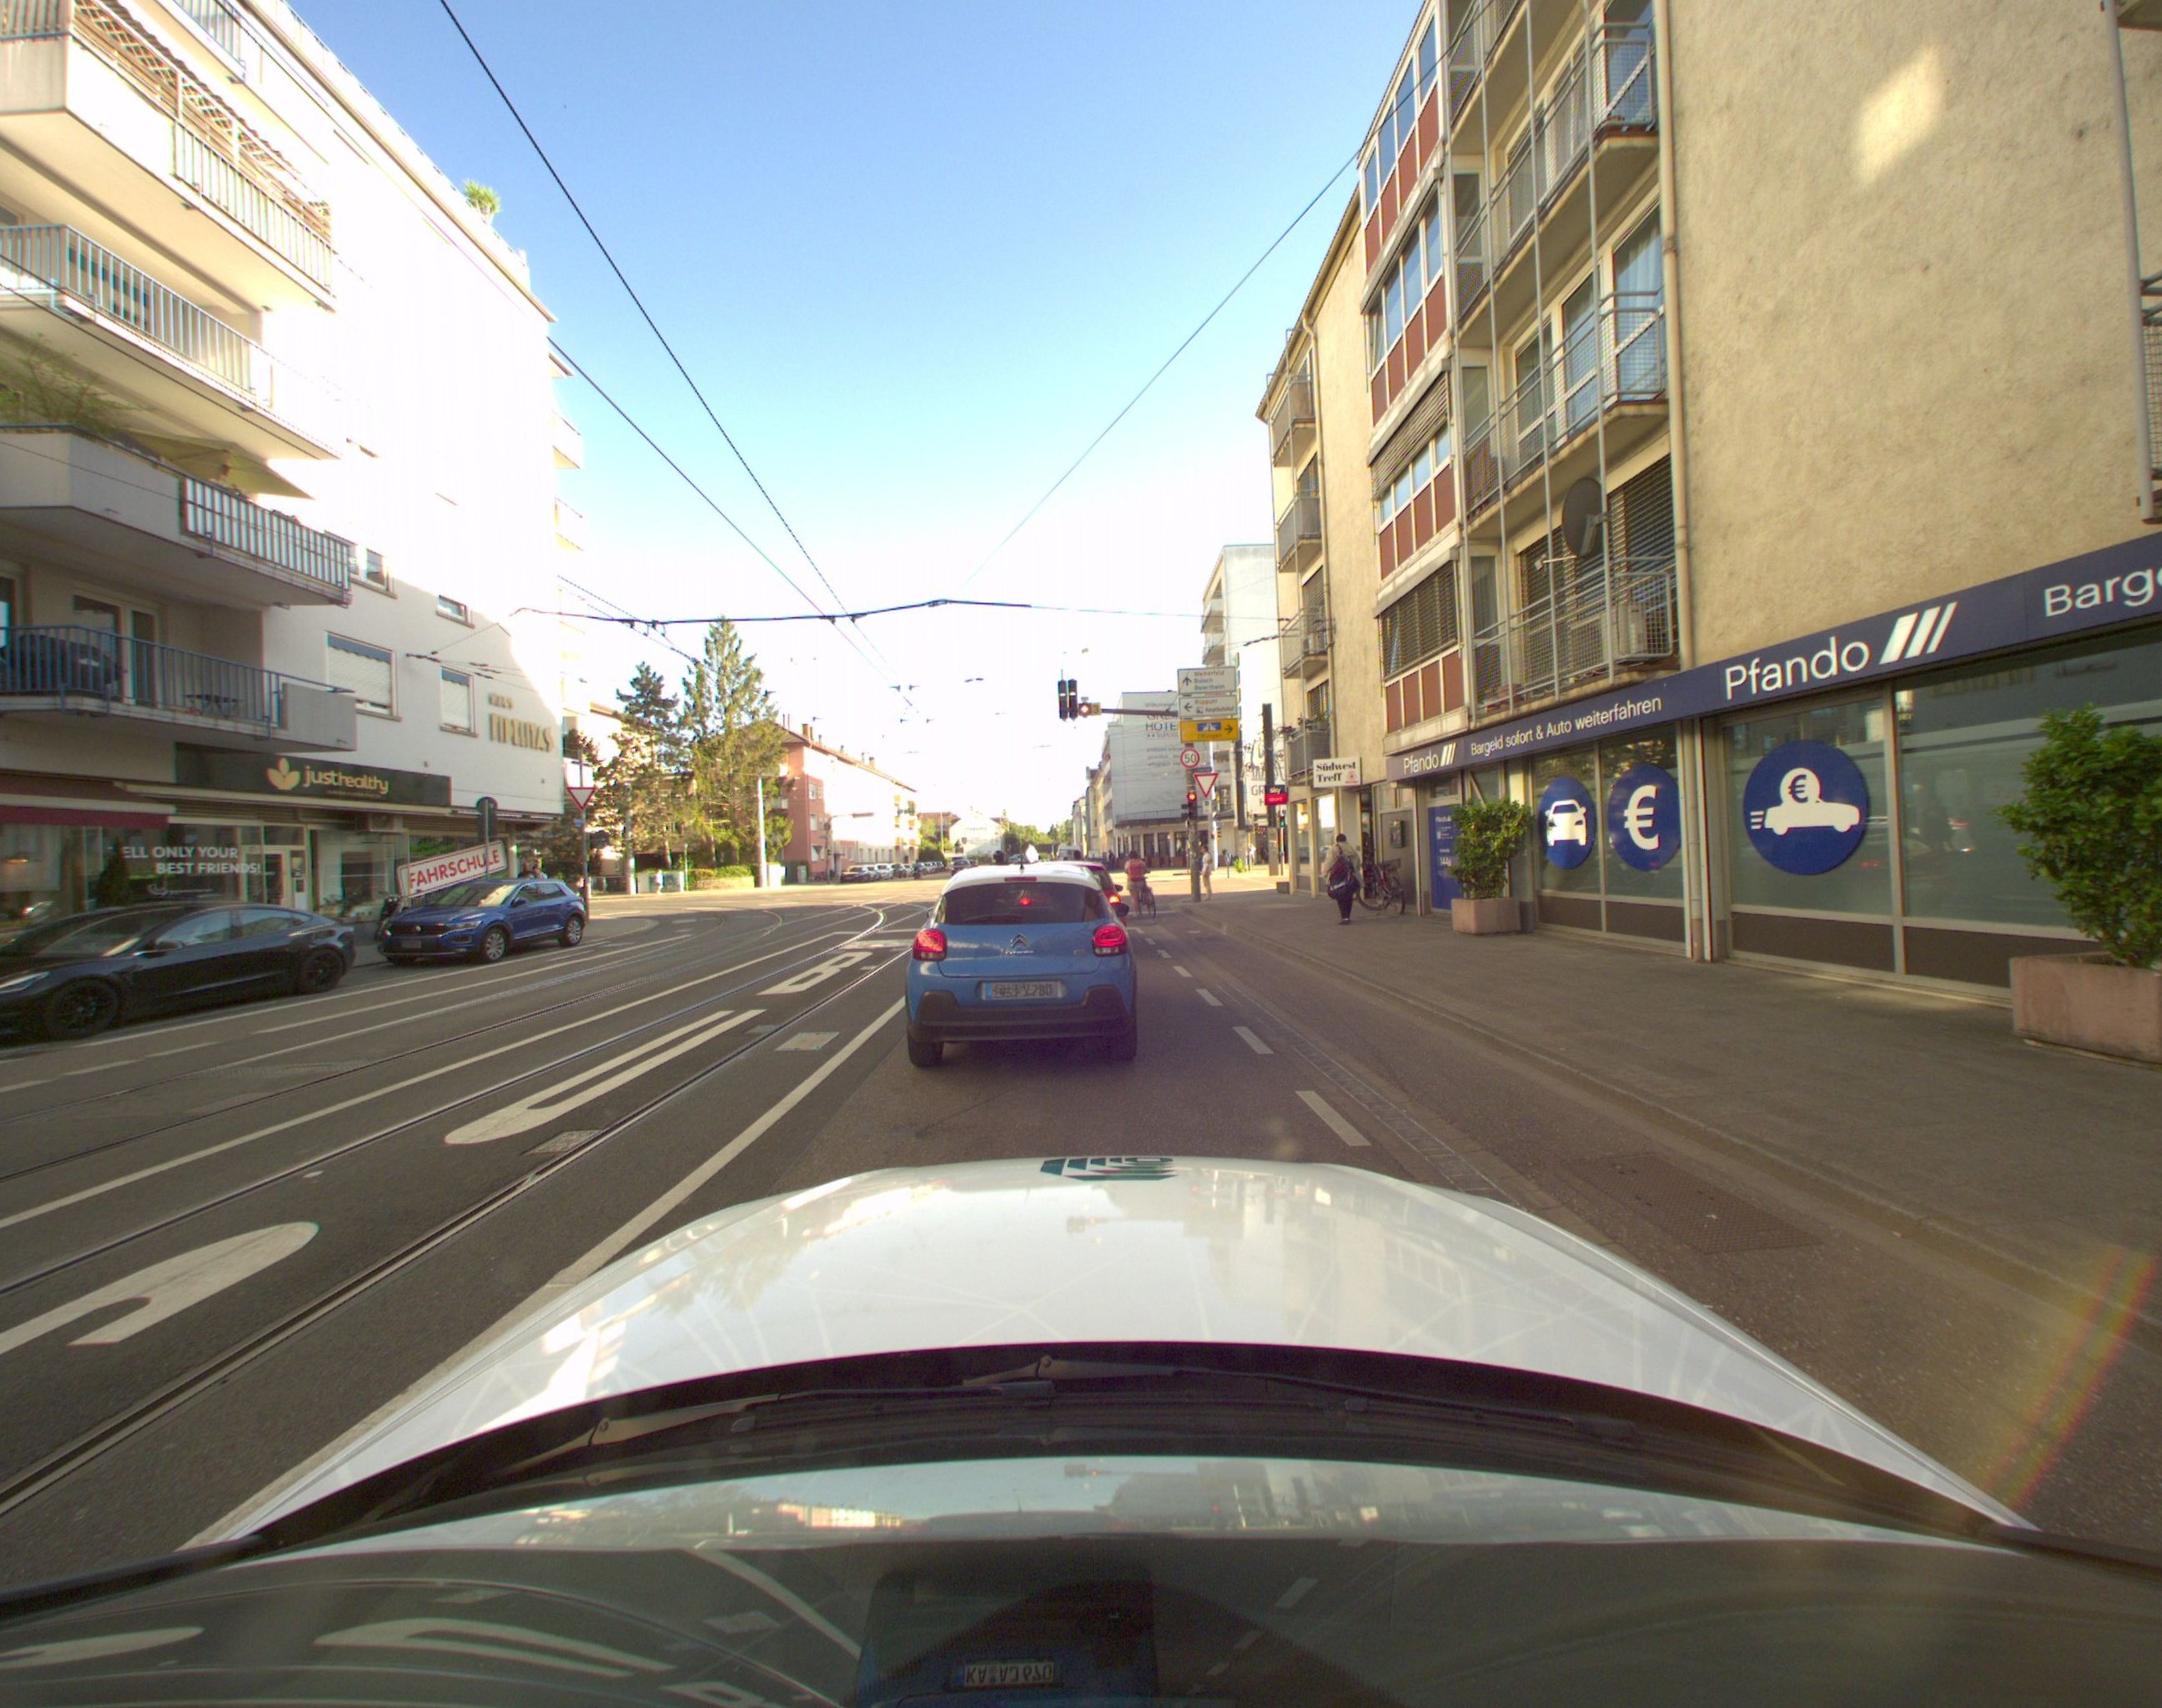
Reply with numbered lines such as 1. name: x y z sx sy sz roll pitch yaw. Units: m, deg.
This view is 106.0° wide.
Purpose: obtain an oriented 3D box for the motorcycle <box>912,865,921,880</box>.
1. motorcycle: -13.604 1.550 67.452 0.712 1.220 1.957 -2 -2 -12

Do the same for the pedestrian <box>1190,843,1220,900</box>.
1. pedestrian: 3.682 0.521 24.213 0.534 1.623 0.737 -7 -3 23

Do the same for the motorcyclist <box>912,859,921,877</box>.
1. motorcyclist: -13.641 1.168 67.568 0.694 1.497 0.681 -2 -2 -12

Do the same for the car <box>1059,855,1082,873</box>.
1. car: -0.879 0.833 68.012 1.654 1.431 3.882 0 -1 -4

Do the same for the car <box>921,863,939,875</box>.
1. car: -20.164 1.956 108.558 1.865 1.576 3.995 0 -1 -3

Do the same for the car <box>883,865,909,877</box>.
1. car: -19.622 1.769 86.673 1.942 1.239 4.279 0 0 -2

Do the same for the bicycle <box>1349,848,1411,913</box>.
1. bicycle: 5.747 0.497 15.743 0.495 1.161 1.776 -2 -1 -1

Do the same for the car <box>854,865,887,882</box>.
1. car: -19.311 1.778 74.922 1.897 1.436 4.102 0 0 0

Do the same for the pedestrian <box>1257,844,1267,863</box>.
1. pedestrian: 13.947 -0.010 62.782 0.600 1.444 0.558 -1 -1 37

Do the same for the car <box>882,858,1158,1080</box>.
1. car: -0.255 0.789 7.285 1.727 1.452 3.670 -1 0 7

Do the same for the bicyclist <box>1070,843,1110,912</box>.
1. bicyclist: 0.221 0.568 20.113 0.937 1.673 1.079 0 -1 0

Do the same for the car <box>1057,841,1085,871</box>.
1. car: -0.966 0.190 73.016 2.260 2.482 5.002 -1 0 -3

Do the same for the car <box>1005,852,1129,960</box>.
1. car: -0.282 0.744 13.600 1.780 1.521 3.758 0 0 -3

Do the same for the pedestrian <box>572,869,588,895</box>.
1. pedestrian: -33.239 1.839 53.989 0.785 1.722 0.699 0 -1 -22

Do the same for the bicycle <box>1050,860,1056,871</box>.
1. bicycle: -4.476 1.867 130.376 0.787 1.670 2.231 0 -1 3

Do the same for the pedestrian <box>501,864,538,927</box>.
1. pedestrian: -17.306 1.271 25.104 0.568 1.900 0.742 -2 -3 16

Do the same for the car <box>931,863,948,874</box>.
1. car: -20.780 2.050 119.685 1.865 1.576 3.995 0 -1 -3

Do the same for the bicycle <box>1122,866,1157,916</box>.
1. bicycle: 1.503 0.915 20.618 0.807 1.181 2.068 0 -1 6

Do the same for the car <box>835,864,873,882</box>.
1. car: -19.370 1.630 69.671 2.149 1.432 4.435 0 -2 -3

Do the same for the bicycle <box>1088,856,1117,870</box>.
1. bicycle: 1.767 0.739 65.921 2.246 1.001 0.855 -4 0 -4

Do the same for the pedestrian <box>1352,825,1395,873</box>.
1. pedestrian: 6.862 -0.117 19.110 0.627 1.087 0.672 -3 1 -35

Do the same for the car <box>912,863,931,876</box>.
1. car: -20.190 1.915 103.405 1.865 1.576 3.995 0 -1 -3

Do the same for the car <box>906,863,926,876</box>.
1. car: -20.005 1.877 98.782 1.865 1.576 3.995 0 -1 -3

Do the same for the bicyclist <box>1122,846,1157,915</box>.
1. bicyclist: 1.476 0.660 20.396 0.807 1.692 0.937 0 -1 6

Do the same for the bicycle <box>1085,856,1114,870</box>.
1. bicycle: 1.538 0.743 67.295 2.246 1.001 0.855 -4 0 -4

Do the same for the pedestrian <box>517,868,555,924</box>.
1. pedestrian: -18.050 1.367 26.991 0.732 1.792 0.663 -2 0 5

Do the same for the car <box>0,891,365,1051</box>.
1. car: -11.997 1.304 10.416 1.764 1.475 4.443 0 0 -1

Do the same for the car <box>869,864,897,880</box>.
1. car: -19.412 1.719 80.016 1.737 1.526 4.227 0 -1 -1

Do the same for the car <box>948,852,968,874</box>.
1. car: -18.056 1.268 119.744 2.411 3.142 3.487 0 -1 -1

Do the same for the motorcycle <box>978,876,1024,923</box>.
1. motorcycle: -1.922 1.067 19.747 0.852 1.047 1.943 0 -1 2

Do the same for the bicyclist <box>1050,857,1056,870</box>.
1. bicyclist: -4.479 1.513 130.385 0.787 2.024 0.987 0 -1 3

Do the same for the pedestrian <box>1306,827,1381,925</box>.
1. pedestrian: 4.572 0.373 14.241 0.883 1.592 0.809 -5 1 -7

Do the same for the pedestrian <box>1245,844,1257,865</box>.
1. pedestrian: 12.727 0.039 60.911 0.604 1.608 0.673 -1 -1 44

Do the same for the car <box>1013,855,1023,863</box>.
1. car: -14.633 1.162 188.430 2.068 1.762 5.034 0 0 -1

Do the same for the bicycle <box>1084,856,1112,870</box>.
1. bicycle: 1.407 0.759 68.412 2.246 1.001 0.855 -4 0 -4

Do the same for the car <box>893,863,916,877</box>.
1. car: -20.060 1.828 92.719 1.865 1.576 3.995 0 -1 -3

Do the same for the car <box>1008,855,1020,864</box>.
1. car: -14.031 1.217 171.546 2.212 1.932 4.946 0 -1 -1

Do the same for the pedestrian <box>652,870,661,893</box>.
1. pedestrian: -28.876 1.863 55.427 0.519 1.568 0.568 0 -1 -26

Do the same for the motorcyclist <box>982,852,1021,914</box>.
1. motorcyclist: -1.924 0.706 19.903 0.852 1.488 0.729 0 -1 1

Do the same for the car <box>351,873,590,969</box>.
1. car: -11.883 1.213 16.287 1.765 1.503 4.233 0 1 -4

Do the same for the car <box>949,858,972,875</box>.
1. car: -11.346 1.134 76.869 1.775 1.486 3.824 -3 0 -3

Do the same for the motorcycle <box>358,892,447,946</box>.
1. motorcycle: -15.765 1.486 18.986 0.605 1.134 1.795 0 -1 -2

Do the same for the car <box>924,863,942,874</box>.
1. car: -20.577 1.998 113.344 1.865 1.576 3.995 0 -1 -3

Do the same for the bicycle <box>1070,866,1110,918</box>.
1. bicycle: 0.224 0.907 20.161 0.937 1.223 2.094 0 -1 1
